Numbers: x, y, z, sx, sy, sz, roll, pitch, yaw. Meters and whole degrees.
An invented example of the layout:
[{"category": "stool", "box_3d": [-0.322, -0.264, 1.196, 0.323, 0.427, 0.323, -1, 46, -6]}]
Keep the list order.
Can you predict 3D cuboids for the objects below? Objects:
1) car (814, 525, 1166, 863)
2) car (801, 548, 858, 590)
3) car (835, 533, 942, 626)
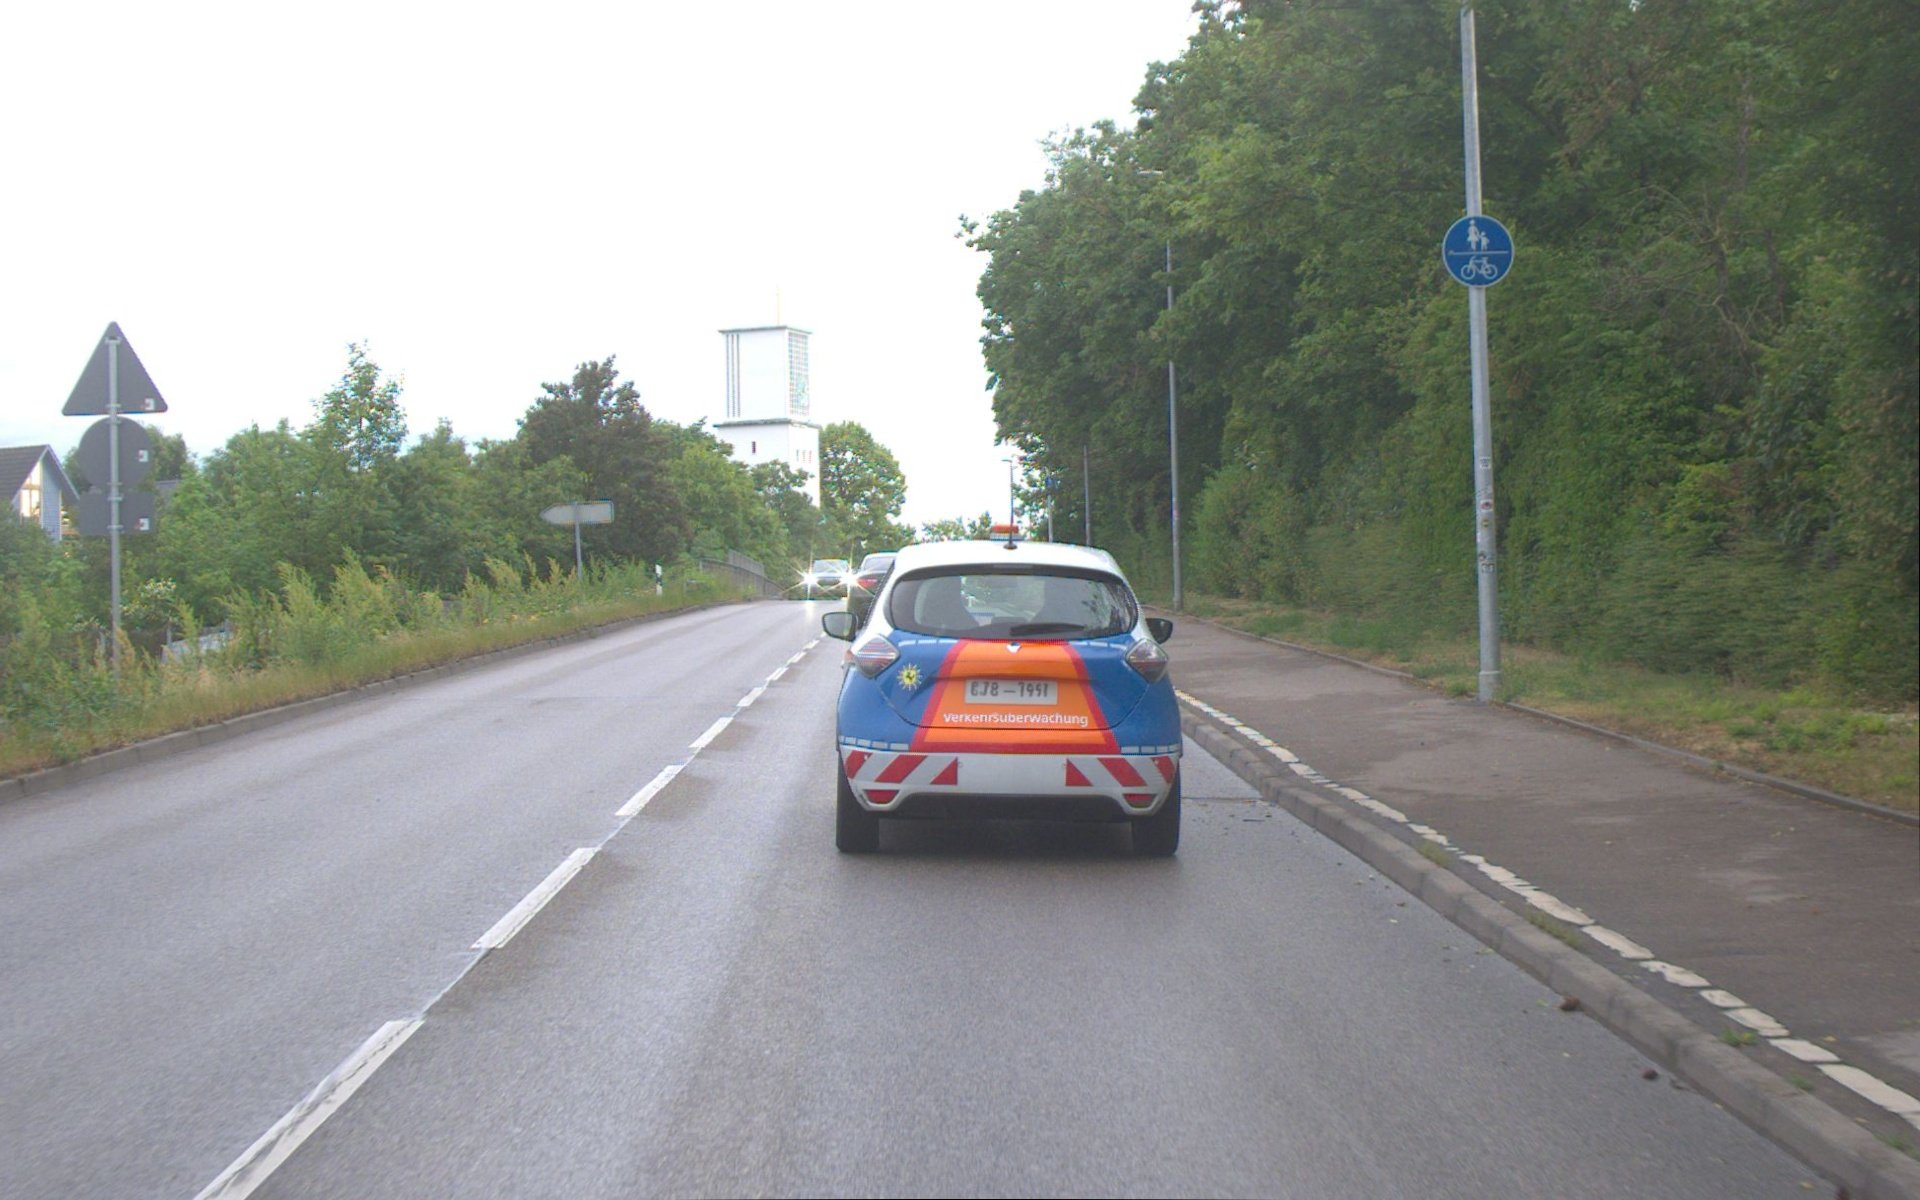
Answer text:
[{"category": "car", "box_3d": [0.120, 0.458, 18.057, 1.657, 1.587, 3.568, 0, 0, -1]}, {"category": "car", "box_3d": [-5.032, -1.220, 133.169, 1.869, 1.580, 4.414, 1, 1, 2]}, {"category": "car", "box_3d": [-1.315, -0.361, 62.113, 1.802, 1.584, 3.563, -2, 0, -2]}]
